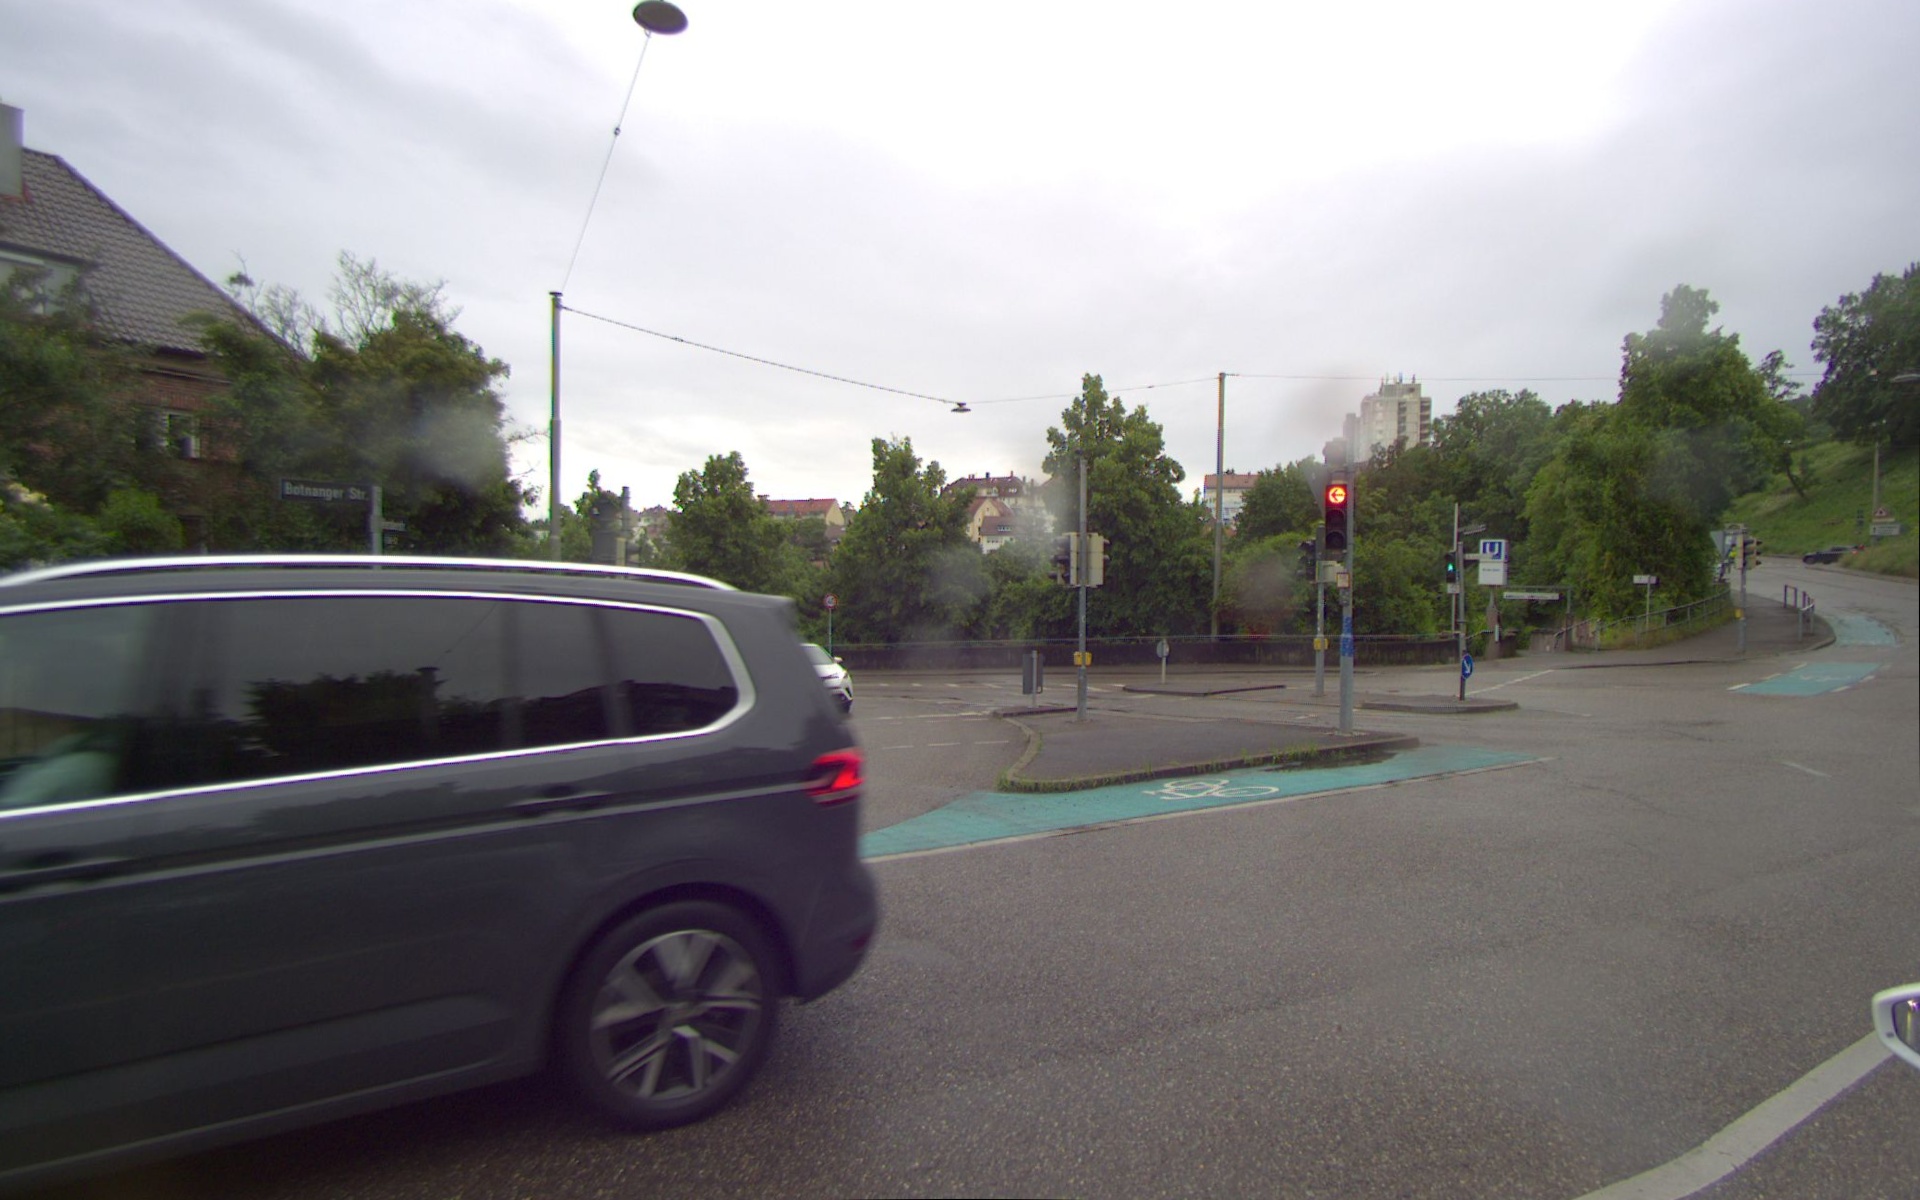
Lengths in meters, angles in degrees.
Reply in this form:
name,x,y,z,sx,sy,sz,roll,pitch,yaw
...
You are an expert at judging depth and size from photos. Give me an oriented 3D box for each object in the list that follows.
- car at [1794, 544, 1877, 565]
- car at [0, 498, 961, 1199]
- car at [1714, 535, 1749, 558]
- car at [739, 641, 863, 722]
name,x,y,z,sx,sy,sz,roll,pitch,yaw
car,66.396,-3.446,76.260,1.931,1.532,4.387,-1,2,-17
car,-2.221,0.672,3.030,4.126,1.702,1.839,1,-2,-32
car,66.414,-4.584,86.541,1.890,1.805,3.991,1,2,31
car,-3.633,1.772,22.413,1.810,1.527,3.864,-2,-3,-23
